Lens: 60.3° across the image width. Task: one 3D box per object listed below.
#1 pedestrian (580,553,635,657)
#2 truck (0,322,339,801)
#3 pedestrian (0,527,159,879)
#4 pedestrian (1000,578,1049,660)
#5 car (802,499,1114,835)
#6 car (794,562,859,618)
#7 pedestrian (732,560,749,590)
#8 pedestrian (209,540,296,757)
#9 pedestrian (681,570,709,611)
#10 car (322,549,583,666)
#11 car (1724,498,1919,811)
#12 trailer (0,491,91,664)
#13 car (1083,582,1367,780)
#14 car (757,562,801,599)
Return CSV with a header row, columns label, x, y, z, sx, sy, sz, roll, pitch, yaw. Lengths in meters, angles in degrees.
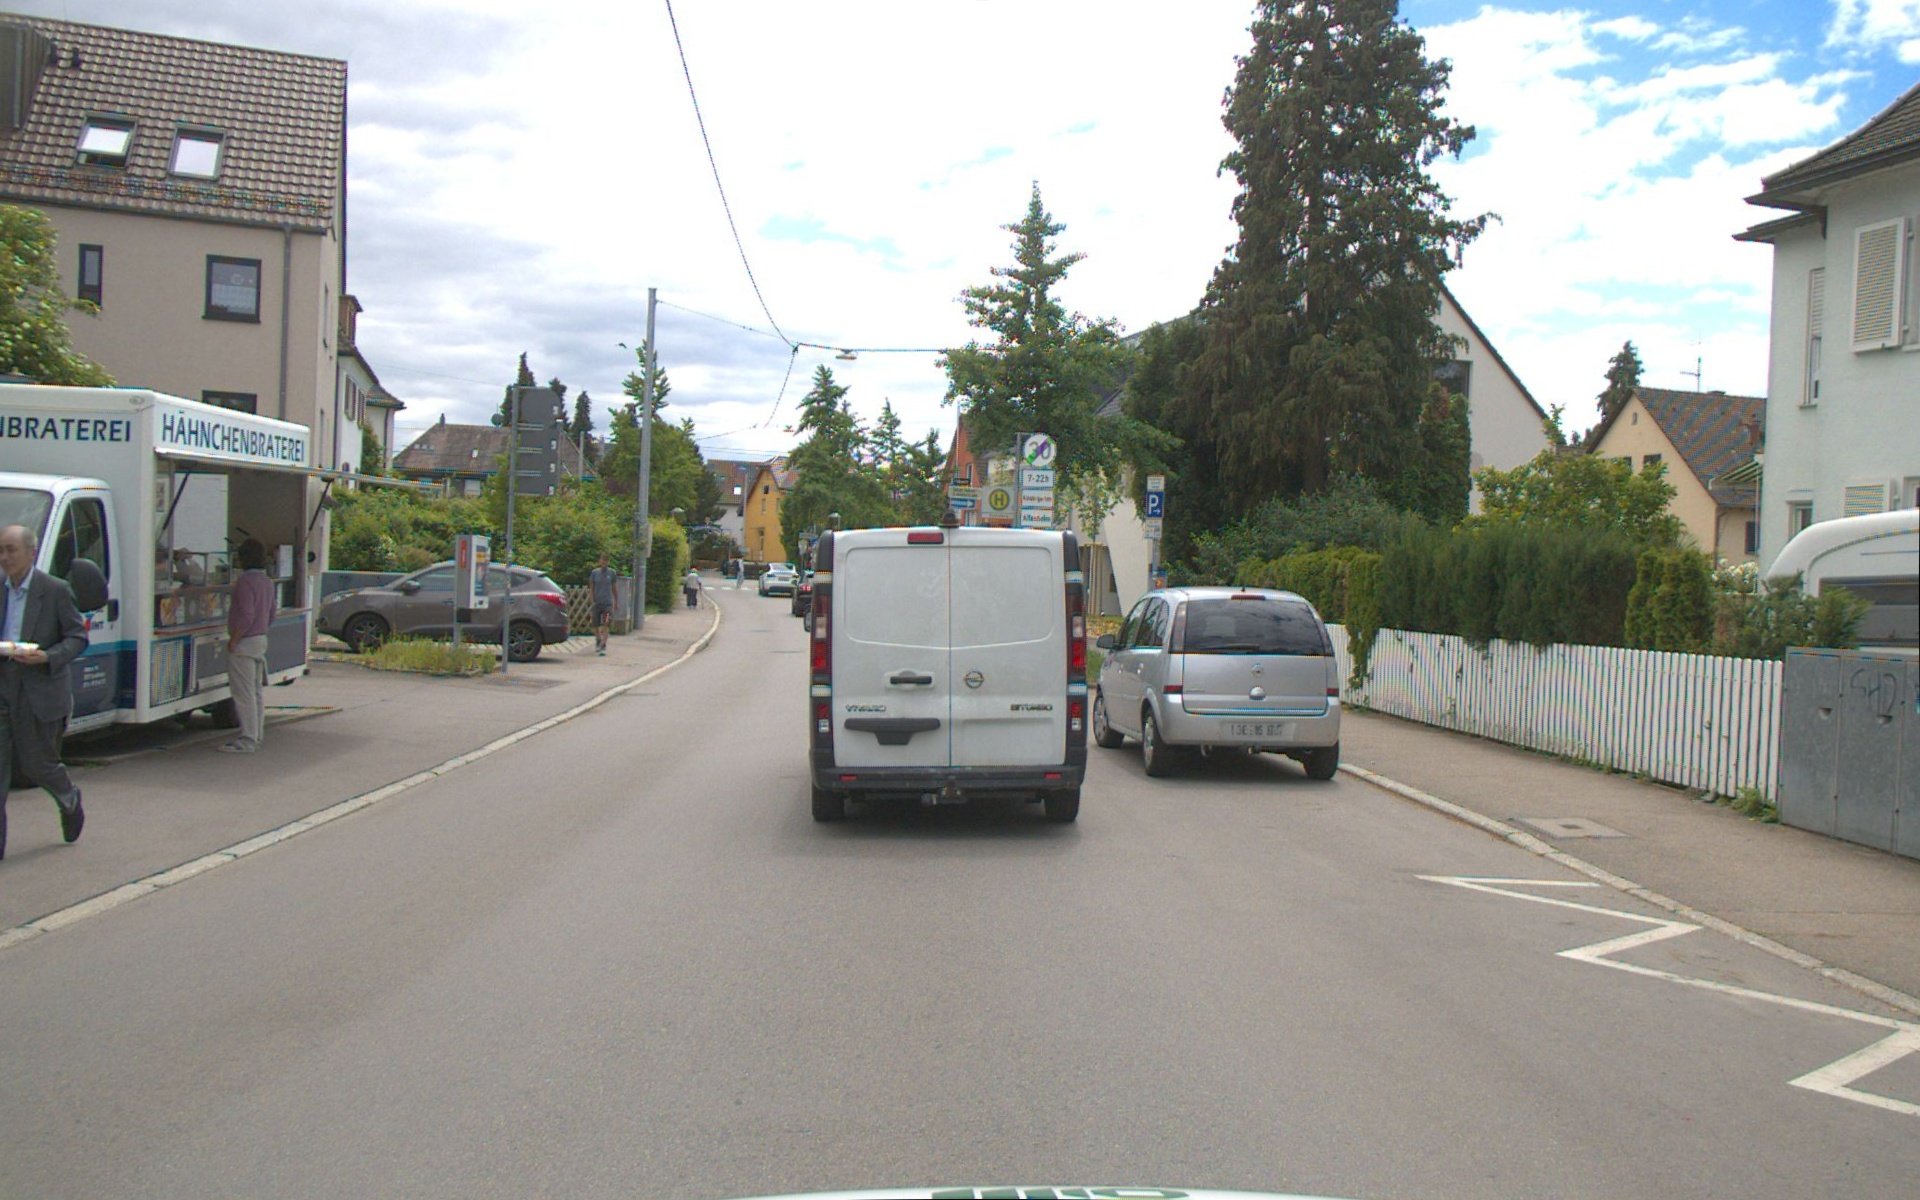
label,x,y,z,sx,sy,sz,roll,pitch,yaw
pedestrian,-6.985,0.102,32.834,0.718,1.979,1.217,4,0,-1
truck,-7.159,-0.302,13.198,2.425,2.890,6.699,2,0,-6
pedestrian,-4.889,0.490,8.699,0.708,1.716,1.109,4,0,-1
pedestrian,1.360,0.397,35.091,0.837,1.674,0.883,4,0,-4
car,-0.212,0.419,12.426,1.879,2.037,4.432,1,0,-6
car,-4.815,-0.361,59.129,1.957,1.880,3.991,1,0,-9
pedestrian,-12.513,-1.409,94.194,0.791,1.637,0.625,4,0,-14
pedestrian,-5.824,0.391,13.642,0.393,1.724,0.596,4,0,-7
pedestrian,-10.158,-0.376,63.447,0.866,1.511,0.451,4,0,-30
car,-9.003,0.132,29.597,4.242,1.725,1.790,4,0,-16
car,9.612,0.557,14.599,2.454,2.728,5.170,4,0,-13
trailer,-14.069,-0.460,21.183,4.771,2.115,1.701,4,1,-8
car,2.332,0.657,15.566,1.725,1.610,4.015,1,0,-5
car,-9.095,-0.978,82.819,1.957,1.813,3.991,1,1,-9
